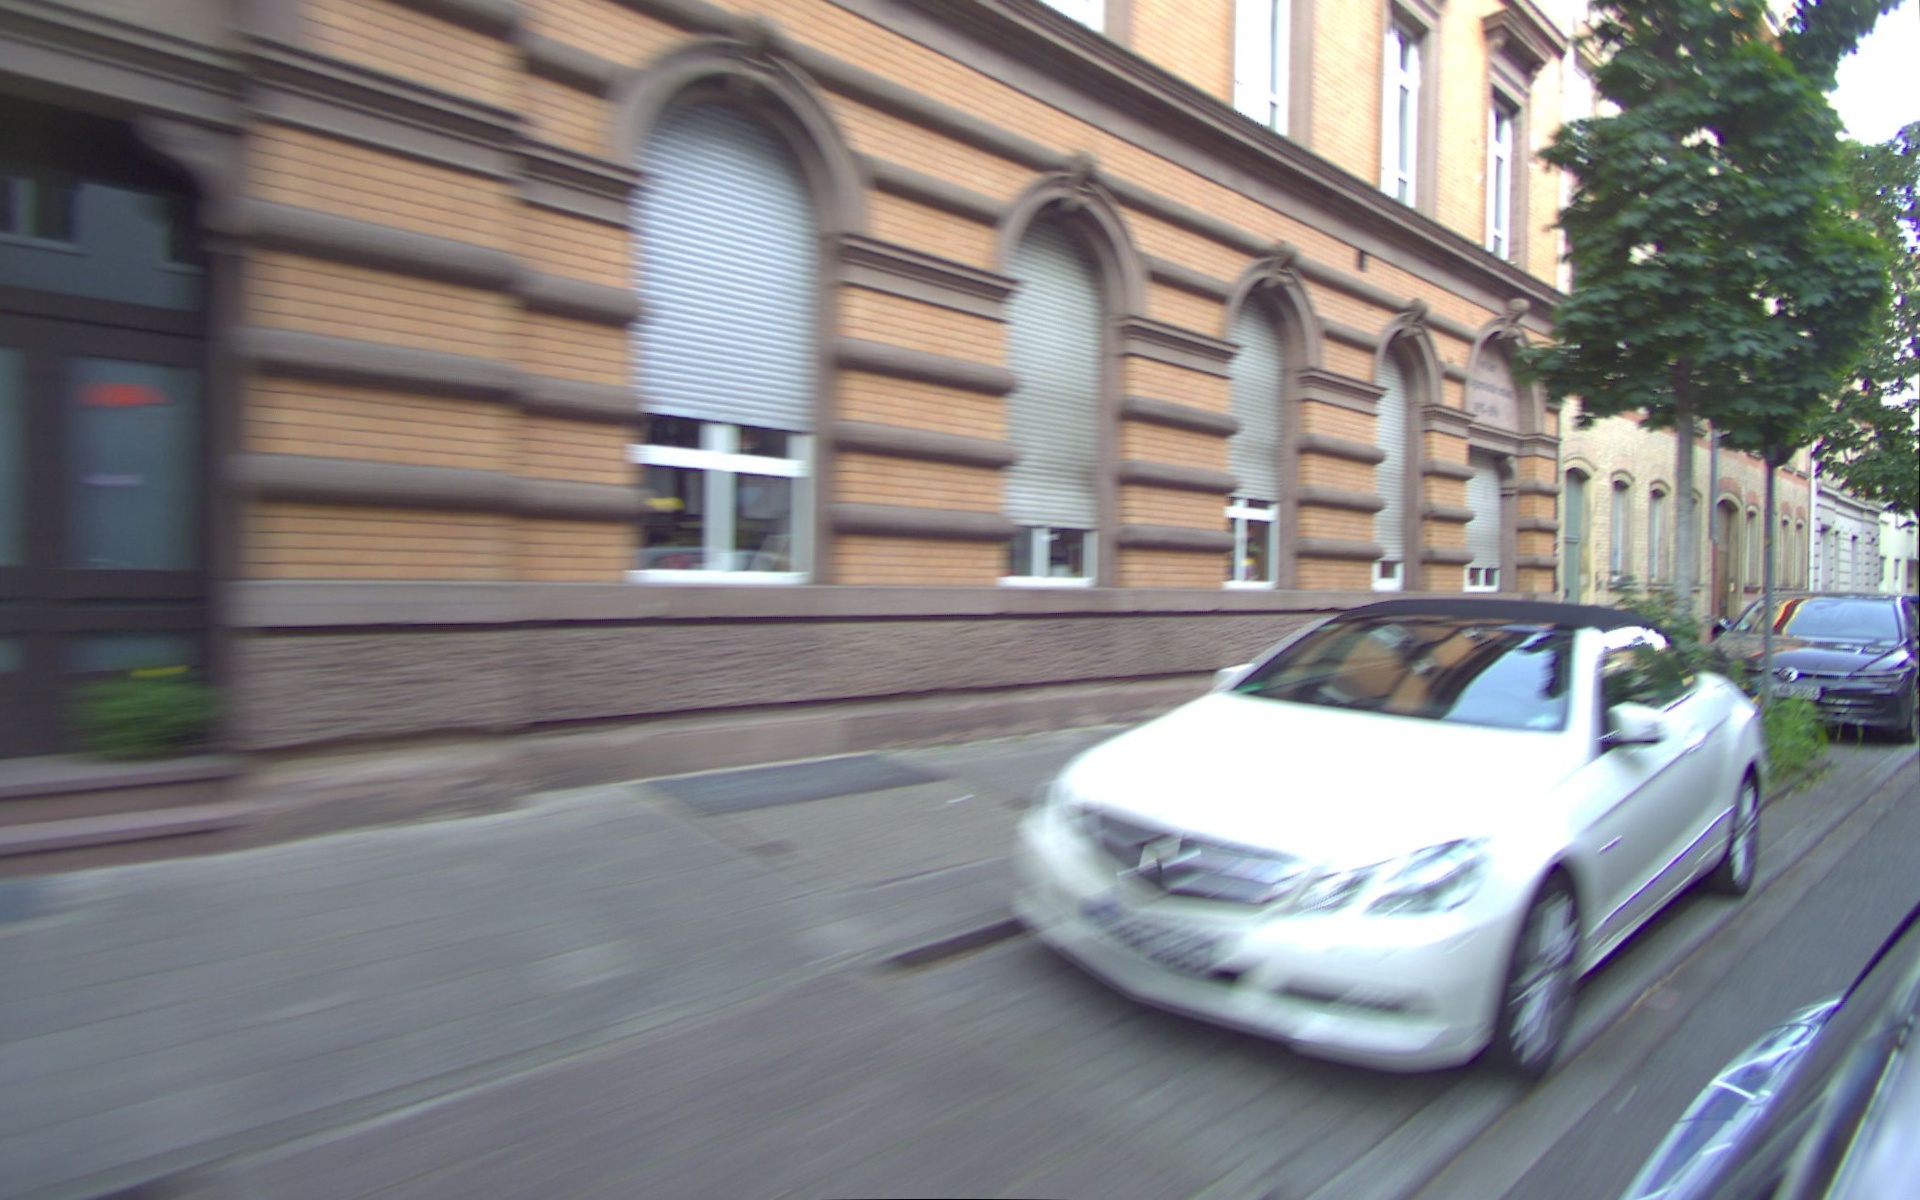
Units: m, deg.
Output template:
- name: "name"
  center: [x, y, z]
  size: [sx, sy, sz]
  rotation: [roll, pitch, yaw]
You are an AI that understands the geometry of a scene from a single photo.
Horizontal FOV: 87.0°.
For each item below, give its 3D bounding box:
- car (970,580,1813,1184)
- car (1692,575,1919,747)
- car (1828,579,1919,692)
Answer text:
- name: "car"
  center: [2.312, 0.659, 4.586]
  size: [4.565, 1.418, 1.697]
  rotation: [0, 2, -41]
- name: "car"
  center: [9.425, 0.511, 10.835]
  size: [4.120, 1.496, 1.714]
  rotation: [0, 1, -42]
- name: "car"
  center: [14.208, 0.458, 14.937]
  size: [4.174, 1.485, 1.630]
  rotation: [0, 2, -43]
